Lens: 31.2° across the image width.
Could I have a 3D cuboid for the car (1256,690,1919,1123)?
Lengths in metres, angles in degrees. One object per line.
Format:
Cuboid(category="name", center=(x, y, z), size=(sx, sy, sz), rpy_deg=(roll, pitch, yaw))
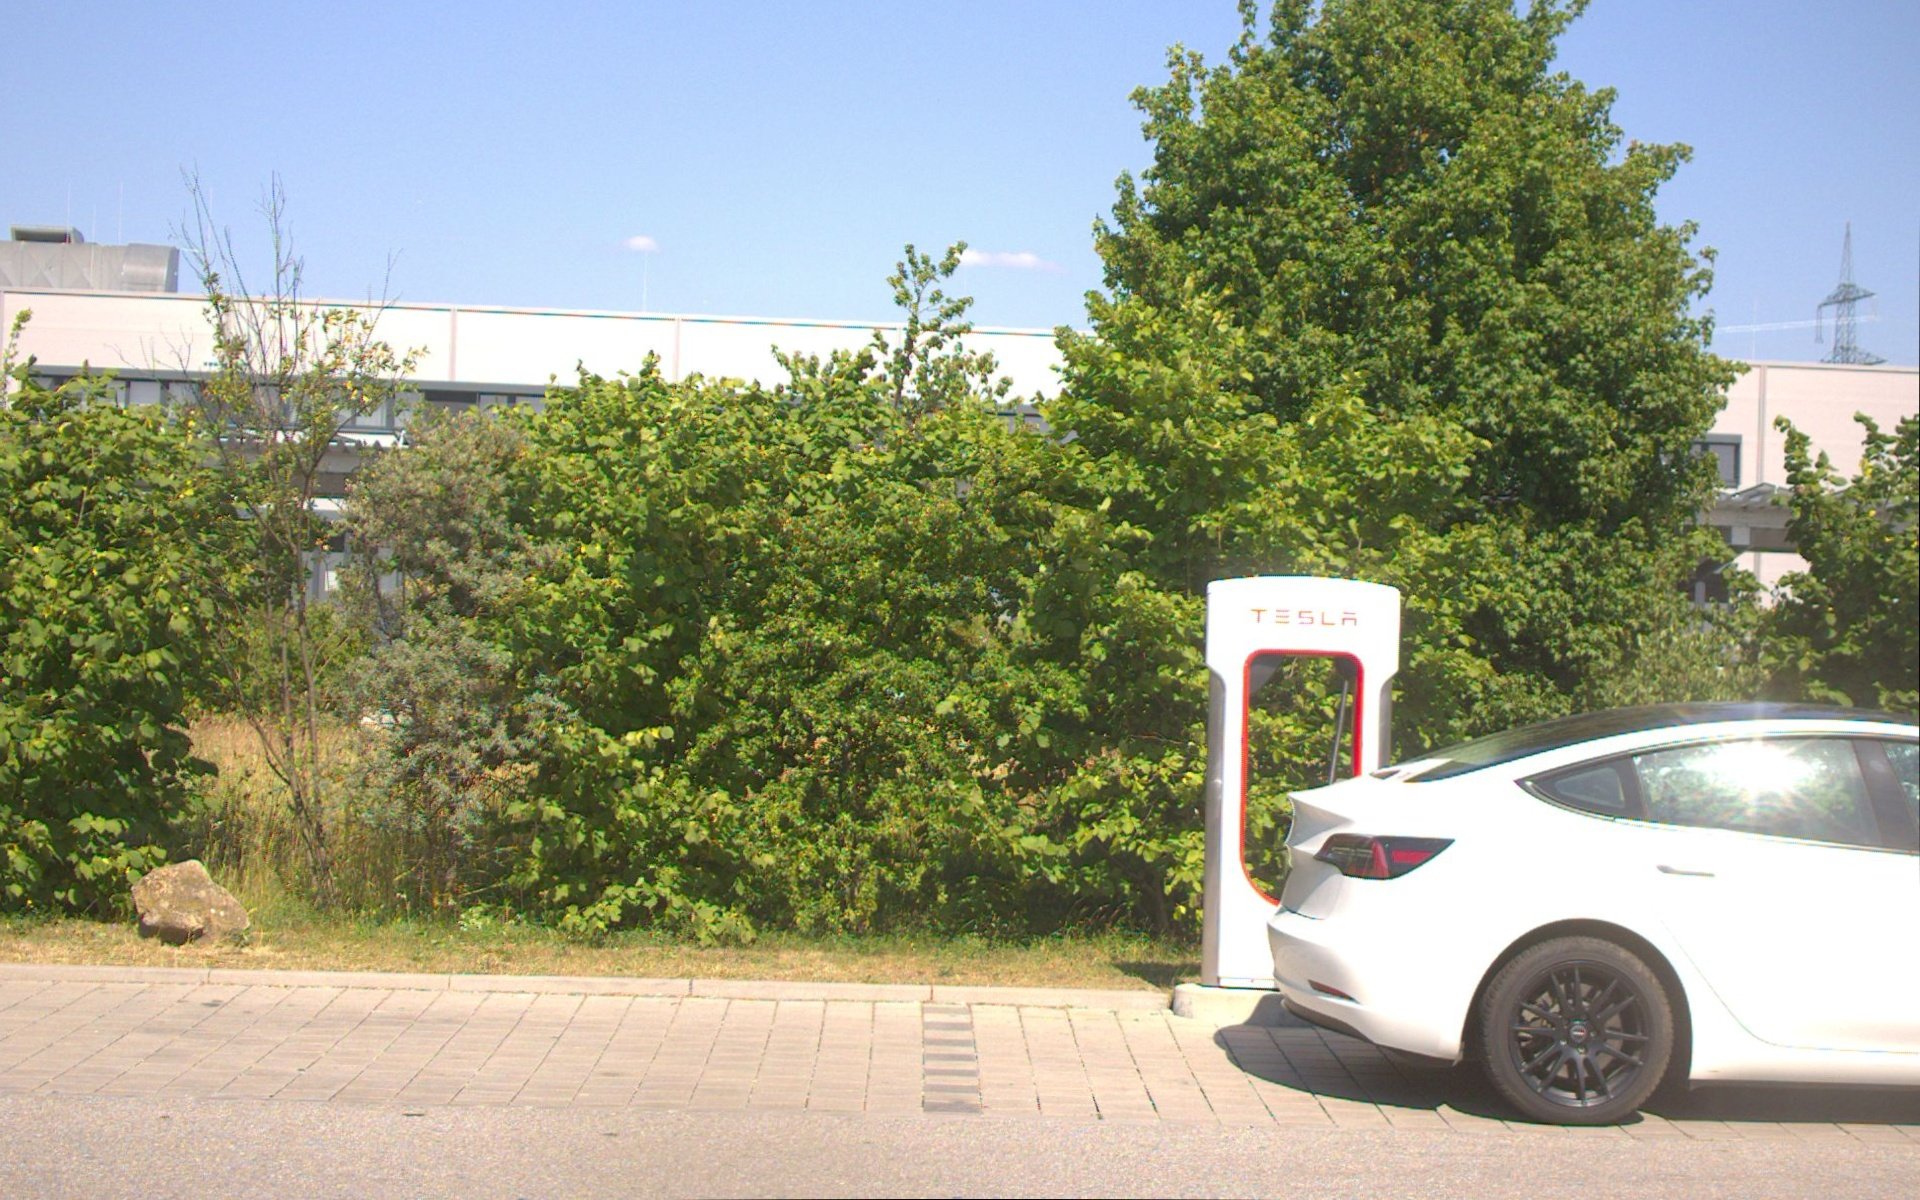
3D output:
Cuboid(category="car", center=(3.396, 1.090, 12.534), size=(4.434, 1.373, 1.822), rpy_deg=(2, 0, 0))
